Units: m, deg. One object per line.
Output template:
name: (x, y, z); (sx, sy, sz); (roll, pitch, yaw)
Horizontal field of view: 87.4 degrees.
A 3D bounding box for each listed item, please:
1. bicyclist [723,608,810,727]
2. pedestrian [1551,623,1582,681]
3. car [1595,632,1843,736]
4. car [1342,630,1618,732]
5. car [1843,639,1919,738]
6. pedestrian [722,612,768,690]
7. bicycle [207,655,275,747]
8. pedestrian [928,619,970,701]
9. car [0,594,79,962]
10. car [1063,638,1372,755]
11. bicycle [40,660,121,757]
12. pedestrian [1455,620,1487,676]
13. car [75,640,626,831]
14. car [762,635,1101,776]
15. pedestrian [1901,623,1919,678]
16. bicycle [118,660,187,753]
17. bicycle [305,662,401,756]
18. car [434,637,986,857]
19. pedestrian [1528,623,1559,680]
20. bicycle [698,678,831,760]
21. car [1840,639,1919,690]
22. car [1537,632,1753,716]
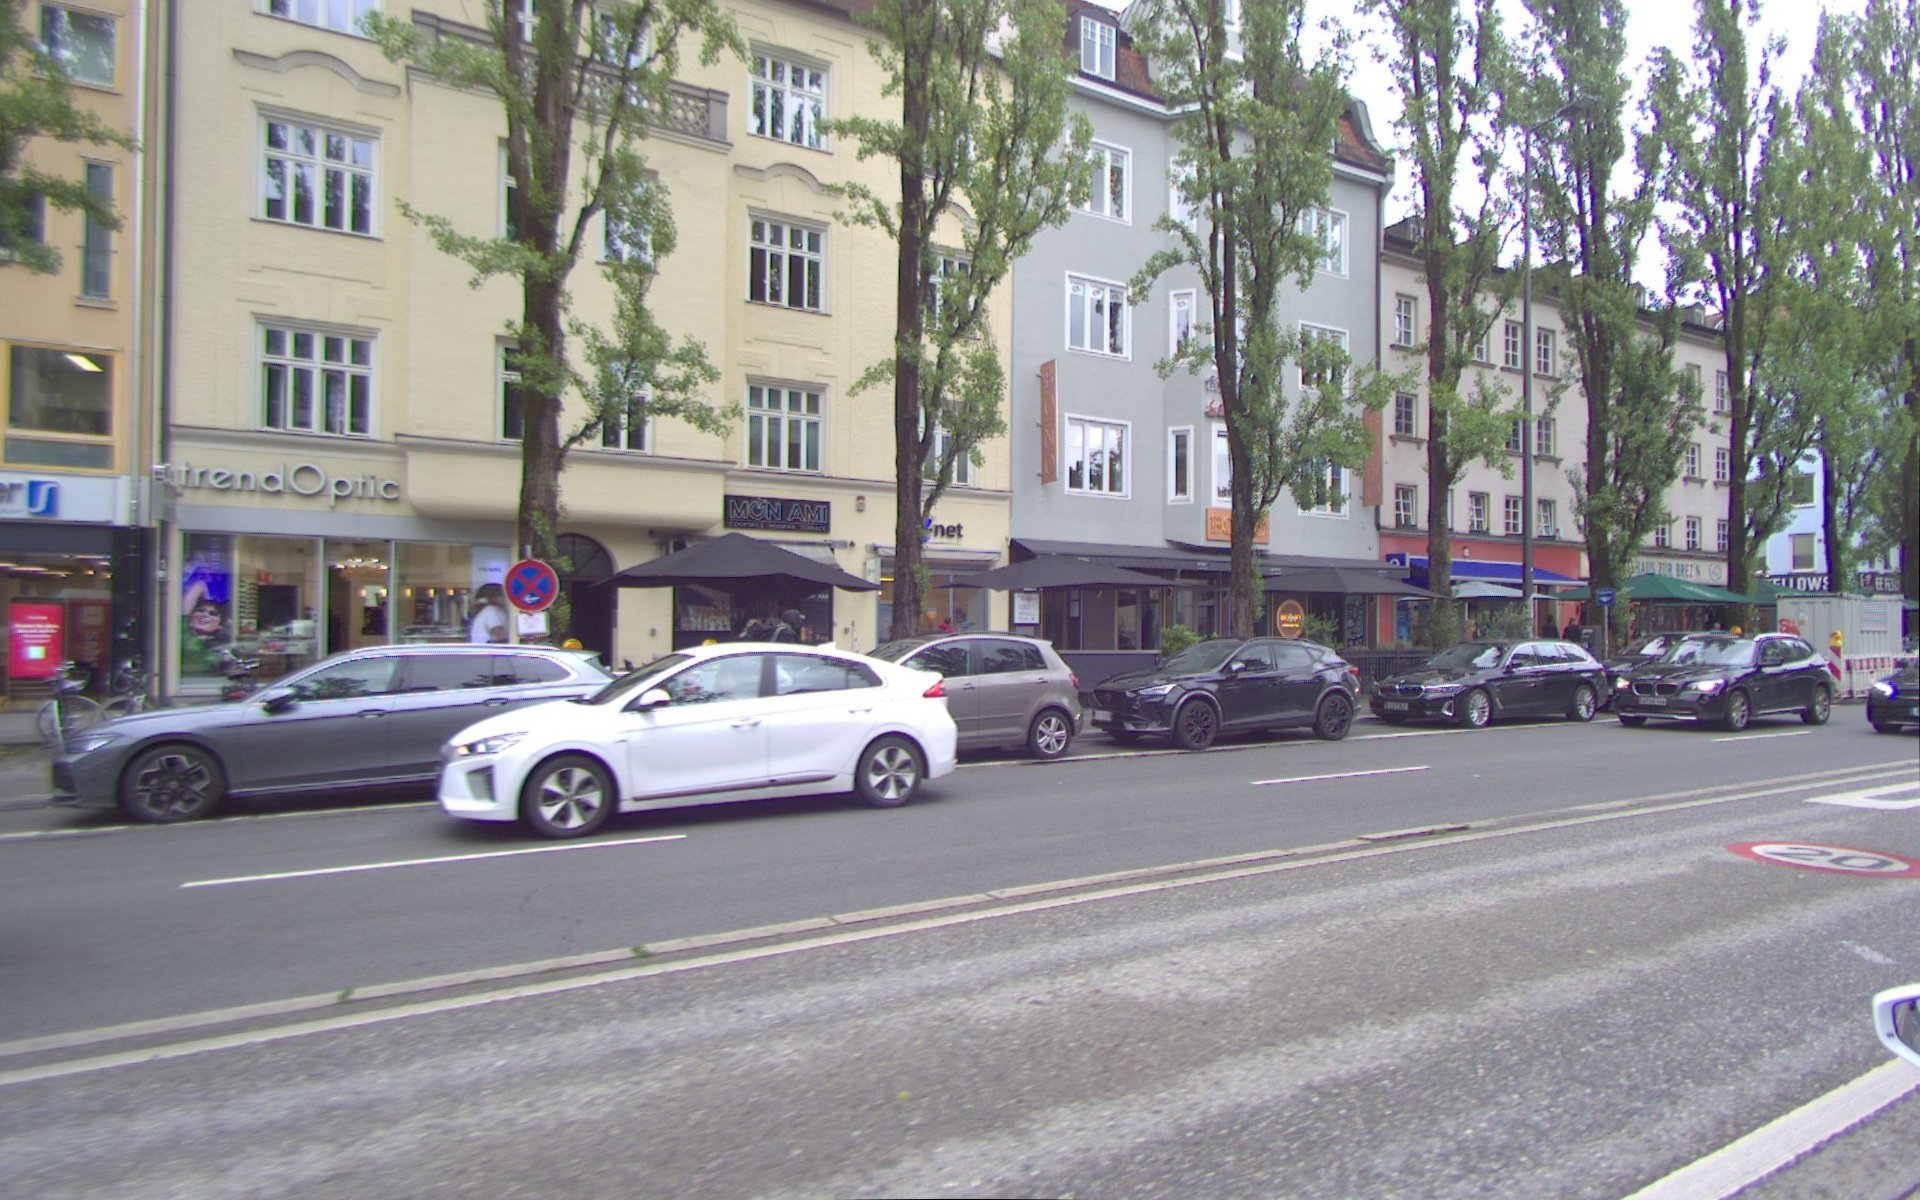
bicyclist: (-2.692, 0.926, 14.022); (1.094, 1.601, 0.494); (1, -2, -29)
pedestrian: (20.074, 1.721, 33.240); (0.640, 1.886, 0.636); (1, -2, -28)
car: (13.049, 1.388, 17.244); (4.160, 1.585, 1.841); (2, -3, -28)
car: (9.390, 1.374, 18.075); (4.829, 1.617, 1.987); (1, -3, -27)
car: (16.198, 1.333, 15.790); (4.713, 1.450, 1.986); (1, -3, -29)
pedestrian: (-4.492, 1.059, 20.973); (0.805, 1.582, 0.631); (1, -2, -27)
bicycle: (-9.124, 1.234, 12.715); (0.617, 1.055, 1.992); (1, -3, -38)
pedestrian: (-0.242, 1.316, 22.147); (0.746, 1.770, 0.537); (1, -1, -28)
car: (-6.312, 0.773, 3.568); (4.409, 1.663, 1.931); (1, -2, -29)
car: (3.870, 1.345, 15.068); (4.265, 1.502, 1.986); (1, -3, -28)
bicycle: (-10.605, 1.273, 12.148); (0.617, 1.055, 1.625); (1, -3, -38)
pedestrian: (16.045, 1.499, 31.544); (0.640, 1.722, 0.636); (1, -2, -28)
car: (-5.679, 1.162, 9.936); (4.243, 1.513, 1.931); (1, -3, -29)
car: (-0.347, 1.232, 12.782); (3.949, 1.539, 1.798); (1, -3, -28)
pedestrian: (32.154, 1.685, 33.782); (0.824, 1.811, 0.658); (2, -1, -44)
bicycle: (-10.068, 1.295, 12.554); (0.617, 1.055, 1.625); (1, -3, -38)
bicycle: (-8.119, 1.419, 13.527); (0.496, 1.115, 2.126); (0, -2, -15)
car: (-2.143, 1.089, 8.869); (4.402, 1.513, 1.931); (1, -3, -29)
pedestrian: (19.665, 1.718, 33.849); (0.640, 1.886, 0.636); (1, -2, -28)
bicycle: (-2.712, 1.632, 13.997); (1.746, 1.020, 0.507); (1, -2, -29)
car: (25.338, 1.674, 26.705); (3.655, 1.267, 1.802); (1, -2, -29)
car: (14.342, 1.472, 21.009); (4.275, 1.585, 1.843); (0, -2, -26)
